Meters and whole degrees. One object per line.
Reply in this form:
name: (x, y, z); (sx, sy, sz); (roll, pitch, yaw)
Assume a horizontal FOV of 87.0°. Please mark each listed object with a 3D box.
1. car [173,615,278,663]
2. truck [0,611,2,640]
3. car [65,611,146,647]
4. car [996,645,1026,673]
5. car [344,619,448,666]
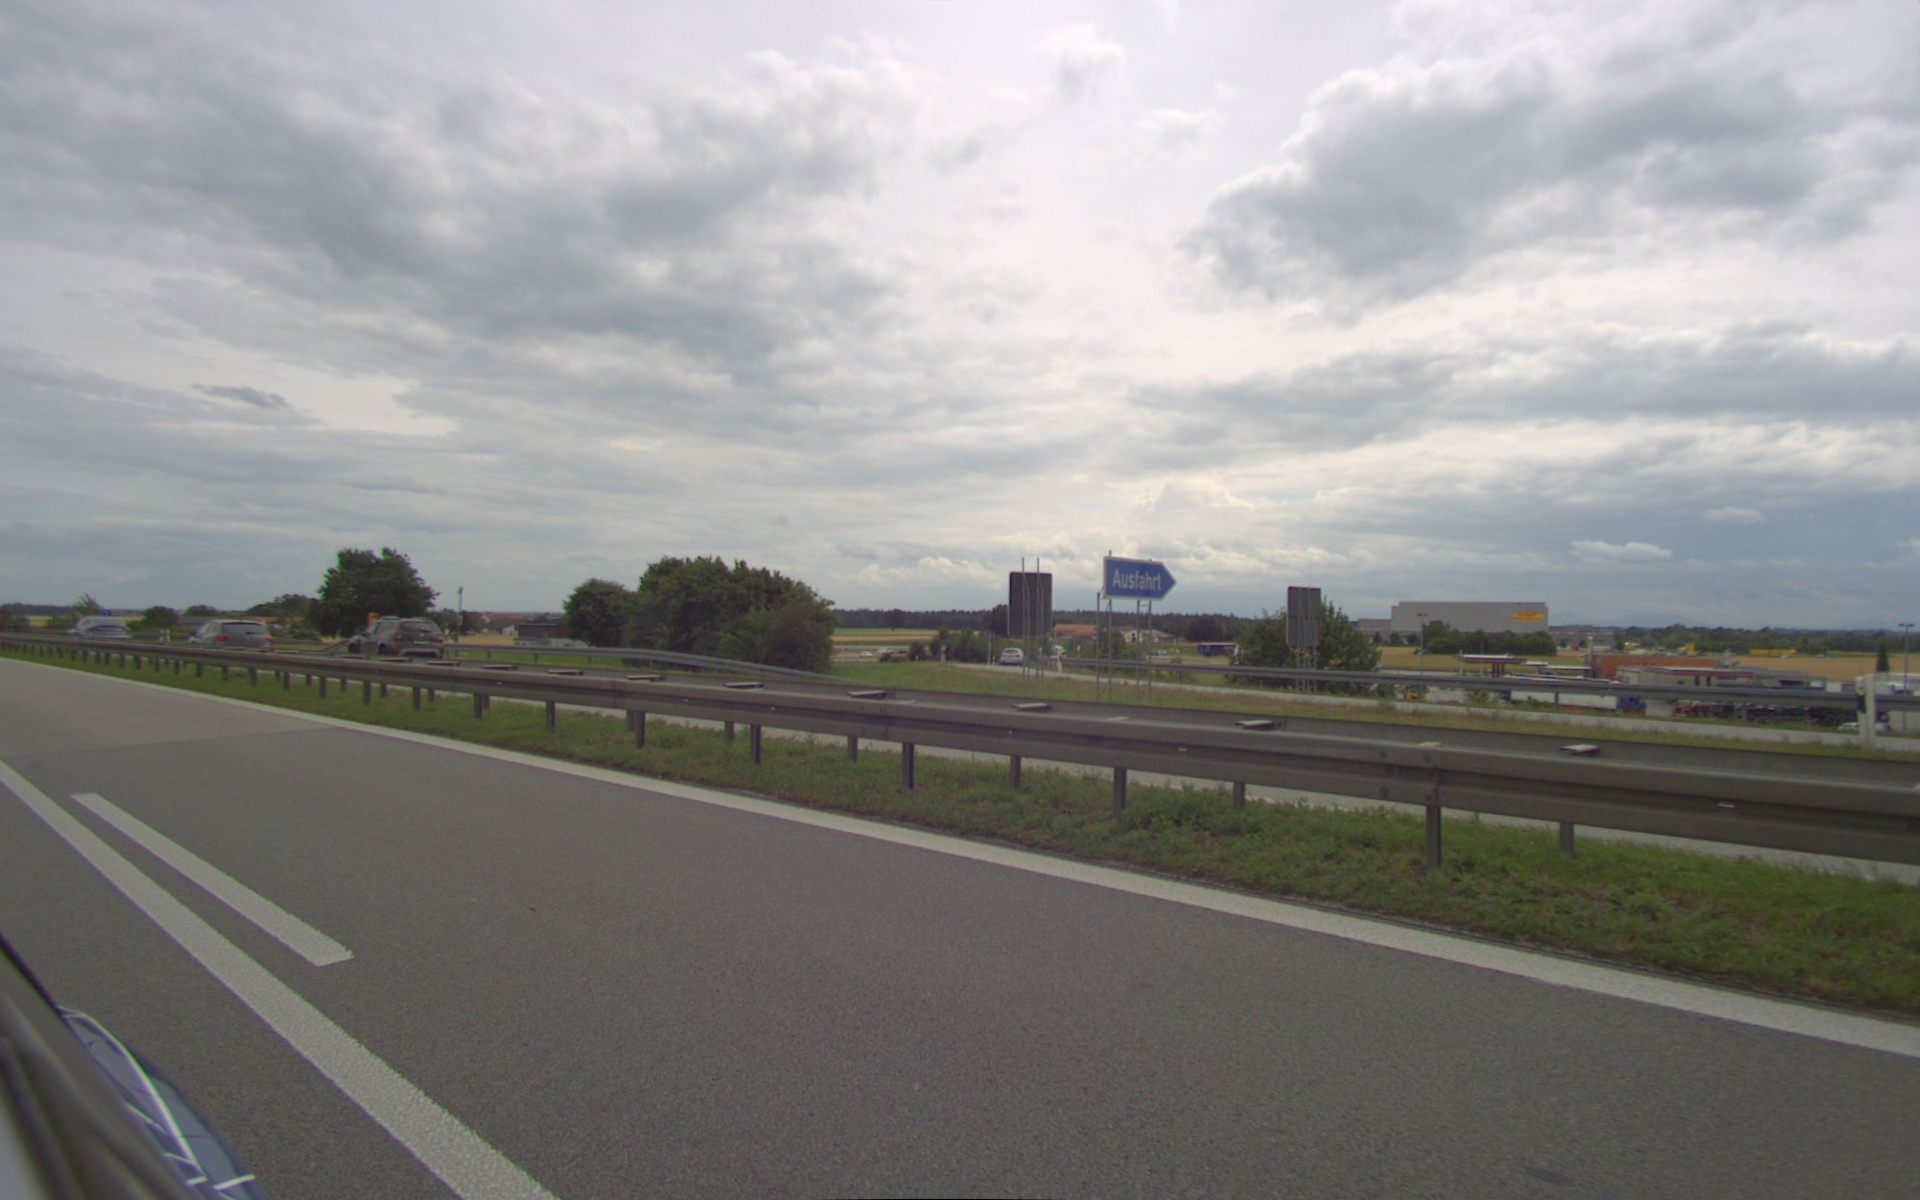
car: (-23.124, 1.212, 31.836); (3.997, 1.404, 1.781); (-1, -3, 41)
truck: (-121.394, 3.172, 125.146); (11.066, 3.563, 2.642); (-1, -4, 39)
car: (-40.820, 1.395, 48.298); (4.995, 1.600, 2.114); (-1, -3, 40)
car: (4.226, 4.814, 83.059); (1.977, 2.029, 3.988); (-1, 0, 9)
car: (-18.825, 1.393, 33.717); (3.997, 1.404, 1.781); (-2, -1, 41)
